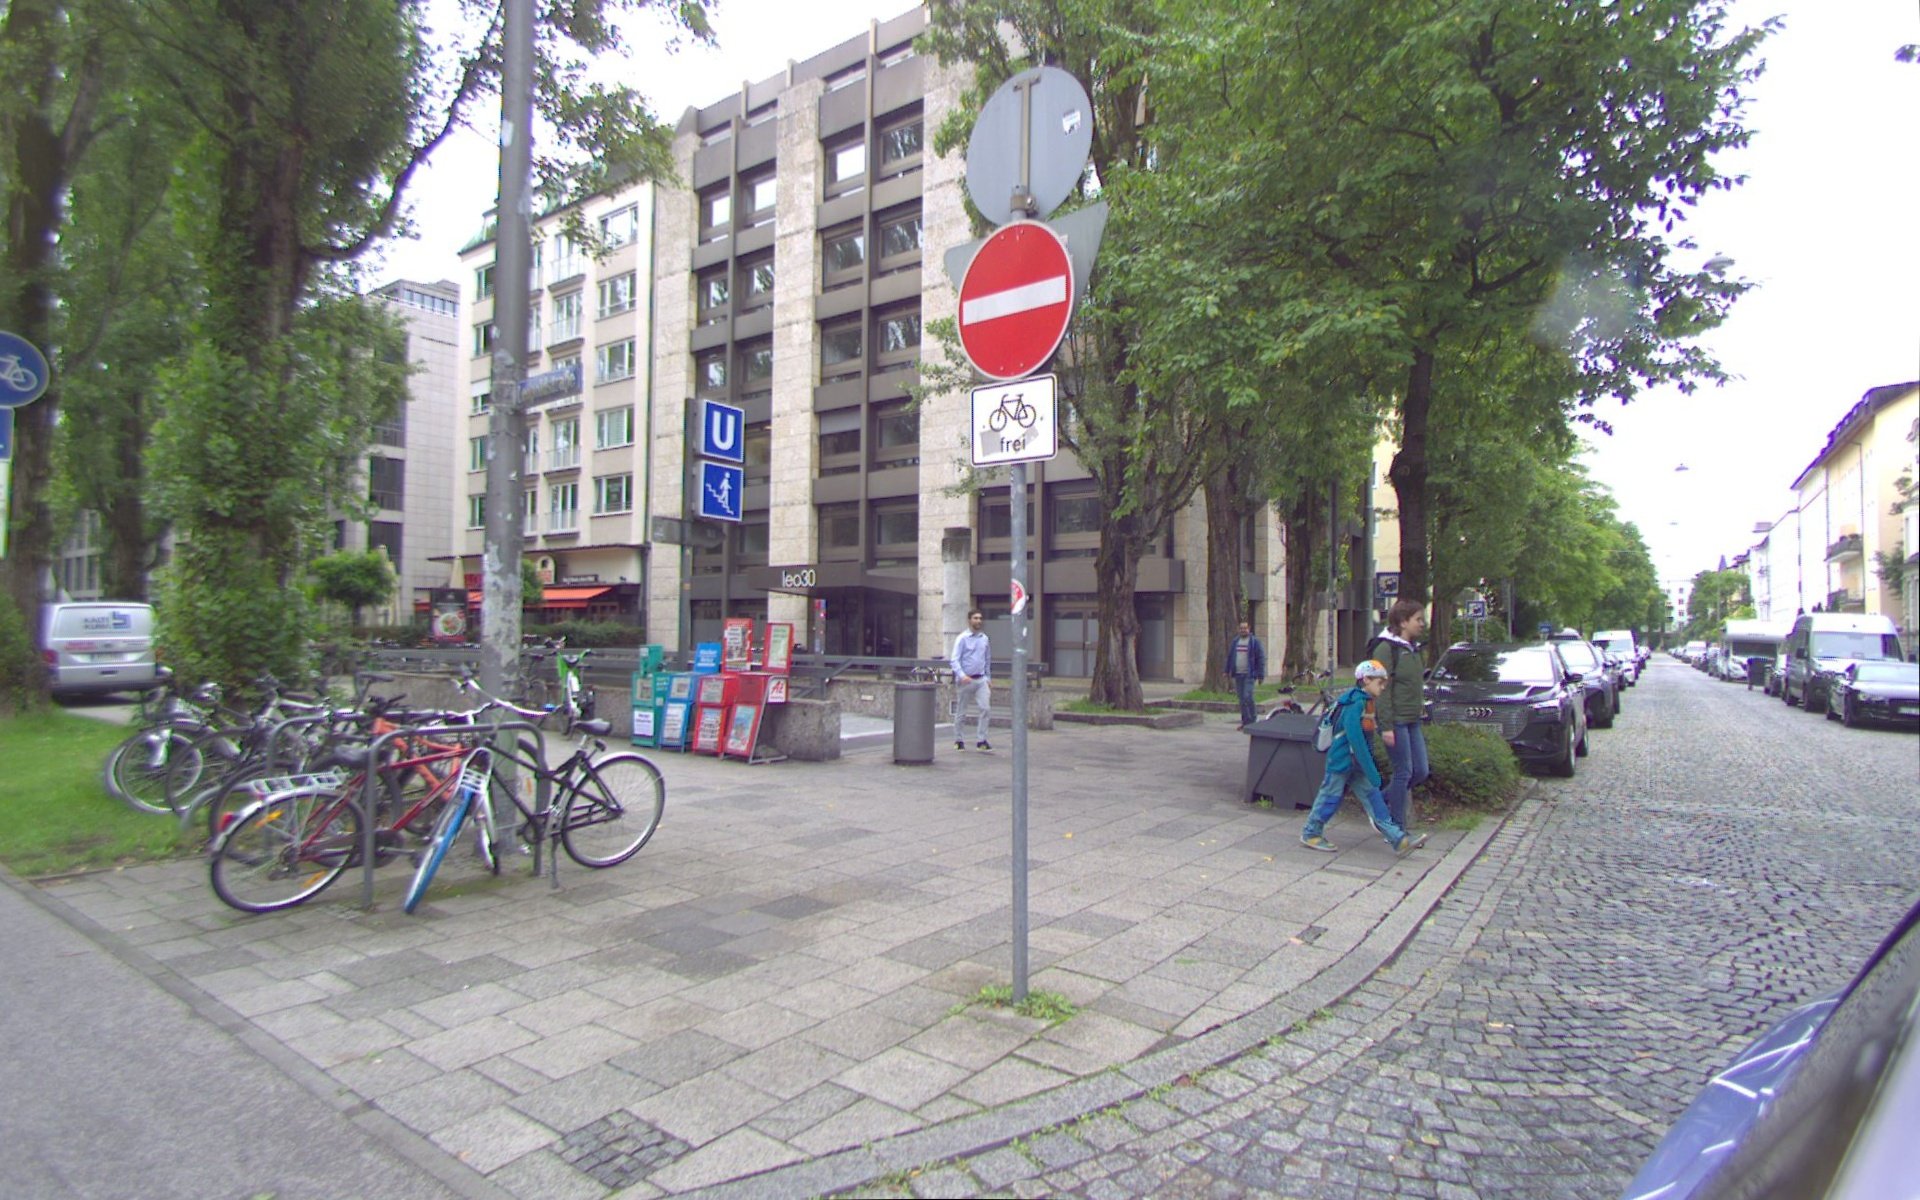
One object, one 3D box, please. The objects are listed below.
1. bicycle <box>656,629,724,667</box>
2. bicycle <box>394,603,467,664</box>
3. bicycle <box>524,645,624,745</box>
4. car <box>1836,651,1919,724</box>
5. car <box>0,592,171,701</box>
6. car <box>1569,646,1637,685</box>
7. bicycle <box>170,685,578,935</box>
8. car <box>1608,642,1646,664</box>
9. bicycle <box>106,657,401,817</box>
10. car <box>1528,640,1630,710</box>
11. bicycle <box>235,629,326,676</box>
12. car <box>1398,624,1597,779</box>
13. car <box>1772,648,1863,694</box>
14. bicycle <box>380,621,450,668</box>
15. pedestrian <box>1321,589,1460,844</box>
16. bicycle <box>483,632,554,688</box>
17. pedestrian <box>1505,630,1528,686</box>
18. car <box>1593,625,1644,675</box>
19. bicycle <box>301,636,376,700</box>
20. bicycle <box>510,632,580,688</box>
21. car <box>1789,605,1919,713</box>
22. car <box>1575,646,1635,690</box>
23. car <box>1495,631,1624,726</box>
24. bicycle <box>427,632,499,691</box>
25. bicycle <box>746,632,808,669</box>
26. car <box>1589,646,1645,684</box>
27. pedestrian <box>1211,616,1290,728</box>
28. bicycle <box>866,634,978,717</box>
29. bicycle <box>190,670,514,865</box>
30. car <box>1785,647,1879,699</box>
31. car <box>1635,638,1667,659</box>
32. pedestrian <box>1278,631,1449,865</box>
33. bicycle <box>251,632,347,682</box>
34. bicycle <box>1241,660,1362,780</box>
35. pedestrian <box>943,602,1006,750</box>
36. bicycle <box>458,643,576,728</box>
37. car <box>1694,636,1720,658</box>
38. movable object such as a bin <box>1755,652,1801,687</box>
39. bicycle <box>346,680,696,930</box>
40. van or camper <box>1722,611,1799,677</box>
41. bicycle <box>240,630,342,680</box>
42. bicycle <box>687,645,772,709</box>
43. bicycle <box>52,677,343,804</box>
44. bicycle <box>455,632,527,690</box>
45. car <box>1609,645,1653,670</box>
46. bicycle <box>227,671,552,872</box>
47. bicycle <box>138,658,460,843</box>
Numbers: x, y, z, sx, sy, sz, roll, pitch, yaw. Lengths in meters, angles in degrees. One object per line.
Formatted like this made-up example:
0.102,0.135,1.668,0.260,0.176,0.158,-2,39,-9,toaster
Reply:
-8.694,1.545,32.656,0.644,1.170,2.216,-1,-3,36,bicycle
-10.739,0.670,20.502,1.859,1.175,0.579,-1,-3,38,bicycle
-4.999,1.177,13.051,0.577,1.175,1.865,2,-3,-41,bicycle
19.521,1.744,20.742,1.988,1.347,4.061,-1,-2,36,car
-17.616,0.949,20.121,5.173,1.921,1.789,-3,-4,38,car
24.564,2.463,38.623,1.986,1.406,3.824,-2,-3,35,car
-3.061,1.028,5.501,0.473,1.064,1.850,-1,-3,37,bicycle
44.914,3.548,68.199,1.985,1.406,3.827,-2,-3,33,car
-5.425,0.994,7.881,0.511,1.052,1.806,-1,-2,41,bicycle
15.688,1.813,25.554,1.986,1.603,4.288,-1,-3,34,car
-17.741,1.355,26.448,0.584,1.175,1.843,0,-3,38,bicycle
7.321,1.223,13.570,1.913,1.722,4.149,-2,-3,34,car
29.565,2.412,35.017,1.987,1.406,3.949,0,-2,35,car
-14.410,1.165,26.768,1.848,1.175,0.583,0,-2,23,bicycle
3.109,0.799,7.321,0.652,1.723,0.690,2,-3,-38,pedestrian
-9.590,1.280,21.951,1.859,1.175,0.579,-1,-3,38,bicycle
16.472,1.702,29.938,0.487,1.649,0.560,-2,-3,39,pedestrian
34.537,2.597,53.055,2.074,2.464,5.541,-2,-3,34,car
-12.215,1.305,19.866,1.973,1.175,0.579,-1,-3,38,bicycle
-9.212,1.304,22.441,1.859,1.175,0.579,-1,-3,38,bicycle
23.494,1.474,26.586,2.052,2.523,5.777,0,-2,33,car
22.583,2.349,35.391,1.595,1.449,3.516,-3,-4,35,car
12.445,1.525,20.882,2.005,1.722,4.614,-2,-3,34,car
-10.322,1.252,20.989,1.859,1.175,0.579,-1,-3,38,bicycle
-6.109,1.678,33.938,0.644,1.170,2.216,-1,-3,36,bicycle
27.566,2.691,42.522,1.854,1.519,3.827,-2,-3,33,car
4.712,1.143,16.429,0.894,1.736,0.869,2,-3,-35,pedestrian
-0.648,1.225,16.849,1.859,1.293,0.712,-1,-3,38,bicycle
-4.061,1.058,6.917,0.473,1.064,1.851,-1,-1,37,bicycle
27.049,2.229,31.511,1.989,1.449,3.944,0,-2,38,car
56.947,3.966,83.469,1.985,1.712,3.827,-2,-3,33,car
2.707,0.931,6.806,0.803,1.438,0.770,2,-3,-38,pedestrian
-16.056,1.366,24.631,0.584,1.175,1.843,-1,-3,38,bicycle
3.690,1.234,10.862,0.474,1.151,1.846,-2,-3,44,bicycle
0.171,0.917,12.378,0.699,1.747,0.670,1,-2,-5,pedestrian
-6.566,1.234,14.980,1.852,1.175,0.582,-1,-3,29,bicycle
88.355,5.549,119.735,2.074,2.464,5.541,-1,-3,34,car
32.215,2.729,39.901,1.245,1.315,1.160,0,-2,32,movable object such as a bin
-2.332,1.029,5.650,0.472,1.064,1.855,-1,-2,31,bicycle
40.340,2.208,51.184,2.448,3.087,7.226,-1,-2,34,van or camper
-16.586,1.344,25.127,0.584,1.175,2.003,-1,-3,38,bicycle
-4.535,1.488,19.879,1.859,1.175,0.579,-1,-3,38,bicycle
-6.084,1.083,8.178,0.470,0.828,1.806,-1,-2,41,bicycle
-9.962,1.271,21.471,1.859,1.175,0.579,-1,-3,38,bicycle
38.374,3.275,57.964,1.985,1.406,3.827,-2,-3,33,car
-3.718,1.058,6.765,0.473,1.064,1.851,-1,-1,37,bicycle
-4.737,1.013,7.409,0.510,1.119,1.905,-1,-2,36,bicycle
